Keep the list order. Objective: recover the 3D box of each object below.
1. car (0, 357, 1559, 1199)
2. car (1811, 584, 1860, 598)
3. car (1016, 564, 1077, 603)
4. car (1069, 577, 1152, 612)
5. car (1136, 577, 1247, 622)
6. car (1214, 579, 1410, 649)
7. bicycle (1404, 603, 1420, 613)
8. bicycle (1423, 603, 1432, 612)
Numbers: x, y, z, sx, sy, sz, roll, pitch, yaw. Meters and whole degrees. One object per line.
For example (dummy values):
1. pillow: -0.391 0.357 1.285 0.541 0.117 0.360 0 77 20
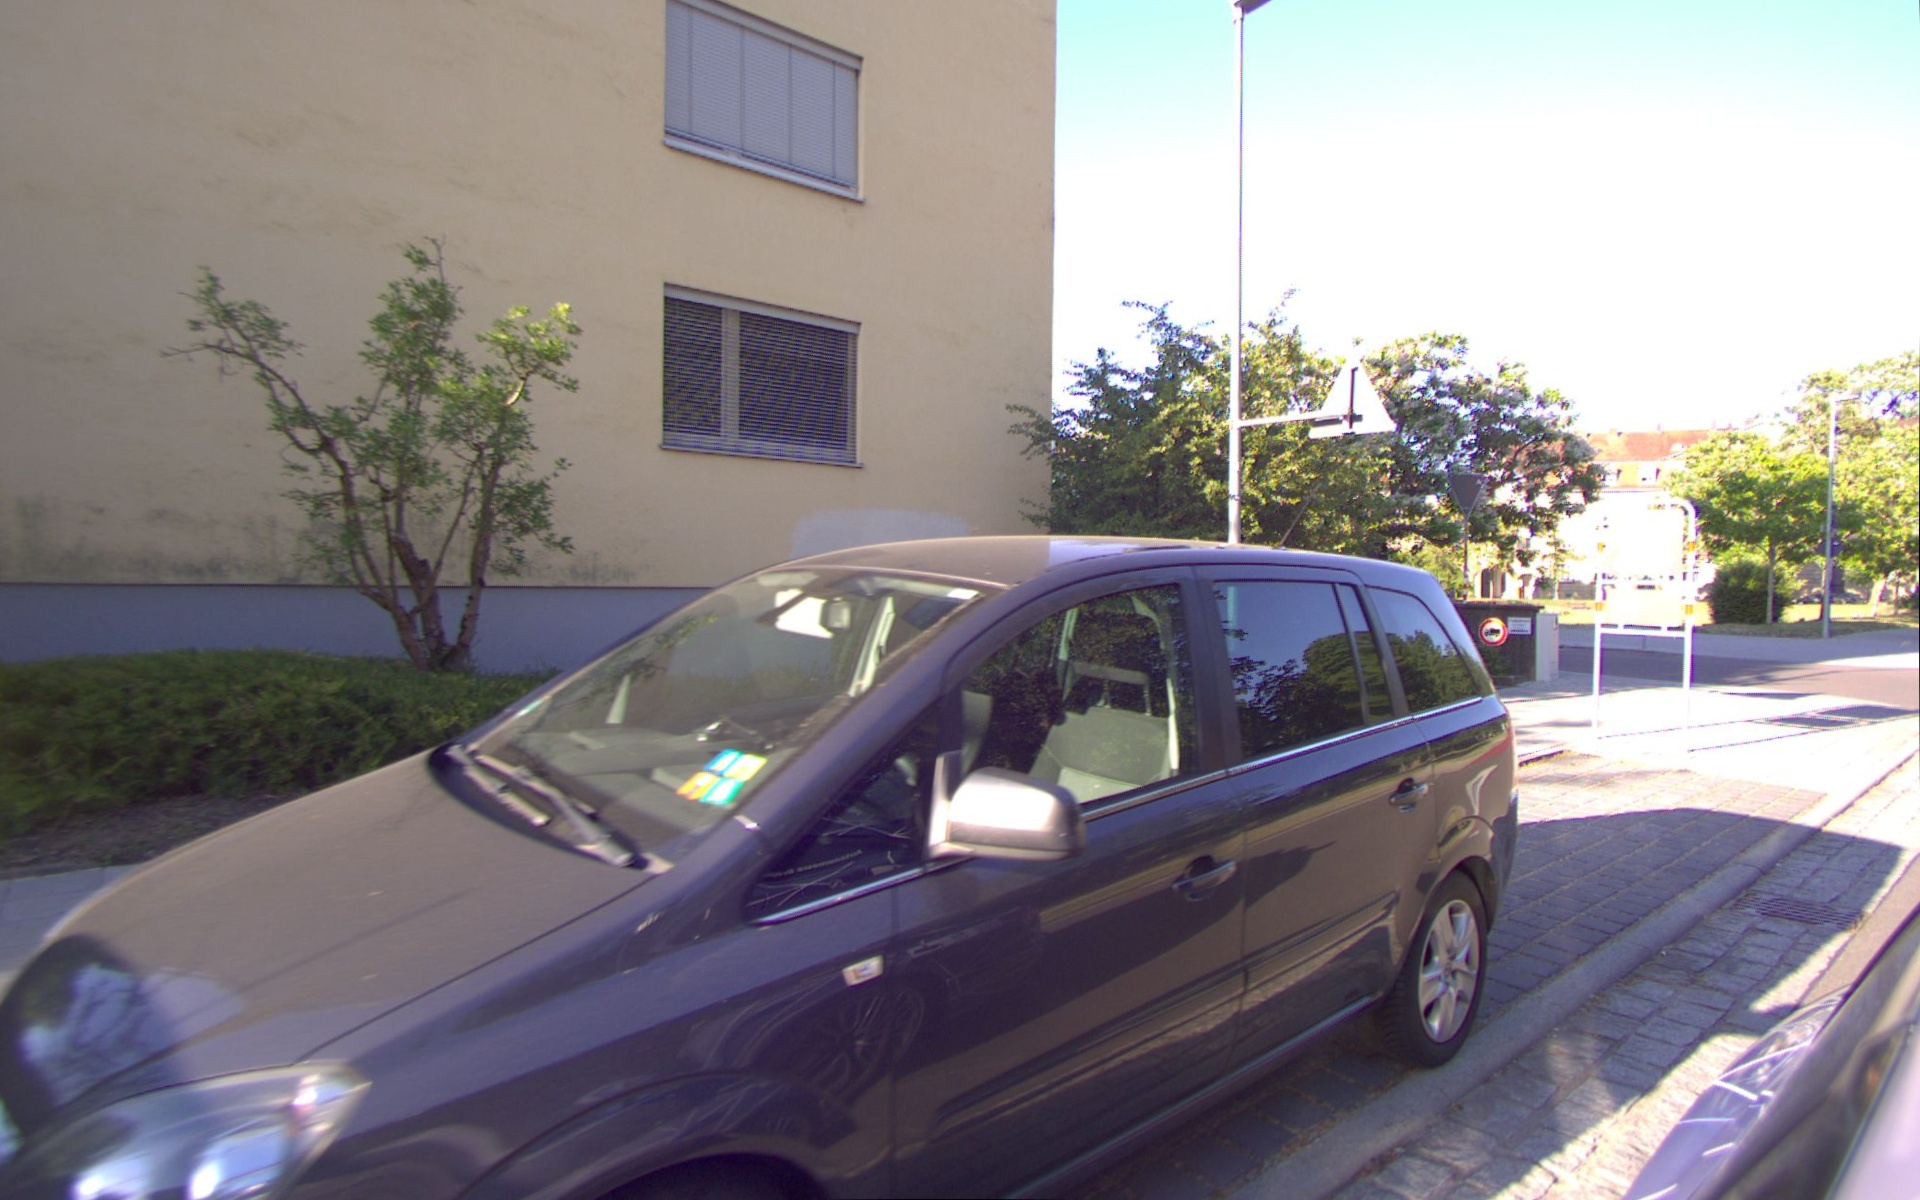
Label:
1. car: -0.051 0.543 2.793 4.096 1.630 1.713 0 3 -42
2. car: 93.527 -0.956 108.129 3.676 1.517 1.707 0 0 32
3. car: 3.950 -0.737 46.776 1.690 1.648 3.712 1 0 -13
4. car: 5.925 -0.220 40.197 1.690 1.313 3.712 2 0 -20
5. car: 7.976 -0.021 35.228 1.690 1.445 4.007 2 0 -23
6. car: 8.133 0.265 23.659 1.756 1.437 4.046 -3 2 -36
7. bicycle: 31.129 0.561 69.672 0.891 0.660 0.437 0 0 11
8. bicycle: 32.103 0.502 69.500 0.480 0.590 0.437 0 0 11
